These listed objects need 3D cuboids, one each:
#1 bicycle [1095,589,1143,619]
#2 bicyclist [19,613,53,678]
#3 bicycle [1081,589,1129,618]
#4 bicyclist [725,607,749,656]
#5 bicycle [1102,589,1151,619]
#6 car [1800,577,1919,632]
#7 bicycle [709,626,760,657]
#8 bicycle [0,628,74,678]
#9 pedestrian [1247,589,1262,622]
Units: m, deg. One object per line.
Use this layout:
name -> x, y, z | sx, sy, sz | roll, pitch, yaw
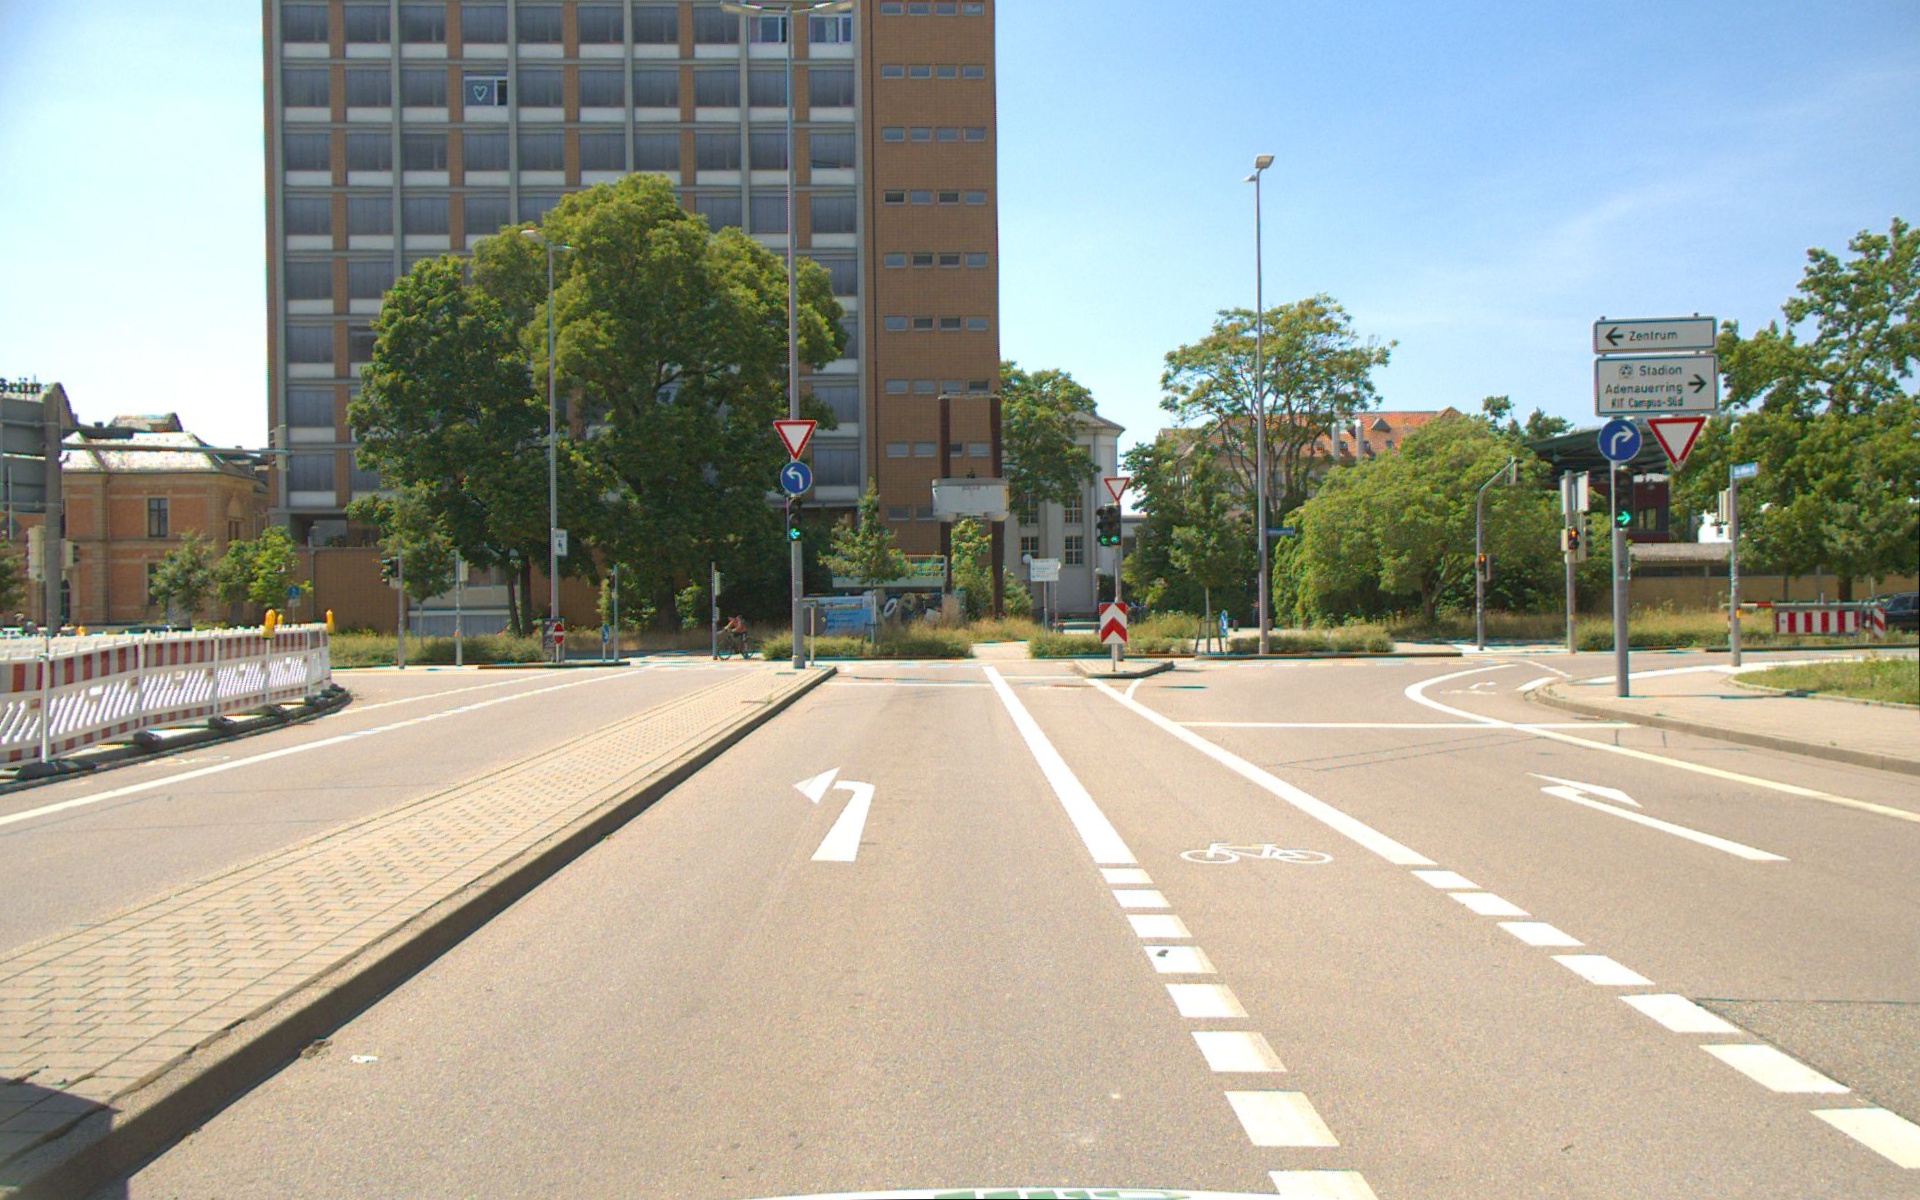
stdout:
bicycle -> 11.349, 0.290, 117.996 | 3.376, 2.049, 0.760 | 1, 0, 1
bicyclist -> -23.075, 1.126, 41.302 | 0.486, 1.607, 0.531 | -2, -1, 16
bicycle -> 10.520, 0.251, 120.043 | 3.376, 2.049, 0.760 | 1, 0, 1
bicyclist -> -8.199, 1.147, 60.854 | 0.541, 1.745, 0.699 | 1, 1, 40
bicycle -> 11.753, 0.260, 116.904 | 3.376, 2.049, 0.760 | 1, 0, 1
car -> 28.934, 0.132, 51.669 | 4.445, 1.614, 1.710 | -1, -1, 5
bicycle -> -8.282, 1.509, 60.783 | 0.548, 1.063, 1.986 | 0, 1, 40
bicycle -> -23.085, 1.332, 41.292 | 1.852, 1.201, 0.524 | -2, -1, 16
pedestrian -> 15.433, 0.280, 86.736 | 0.626, 1.694, 0.706 | 1, 0, -2
